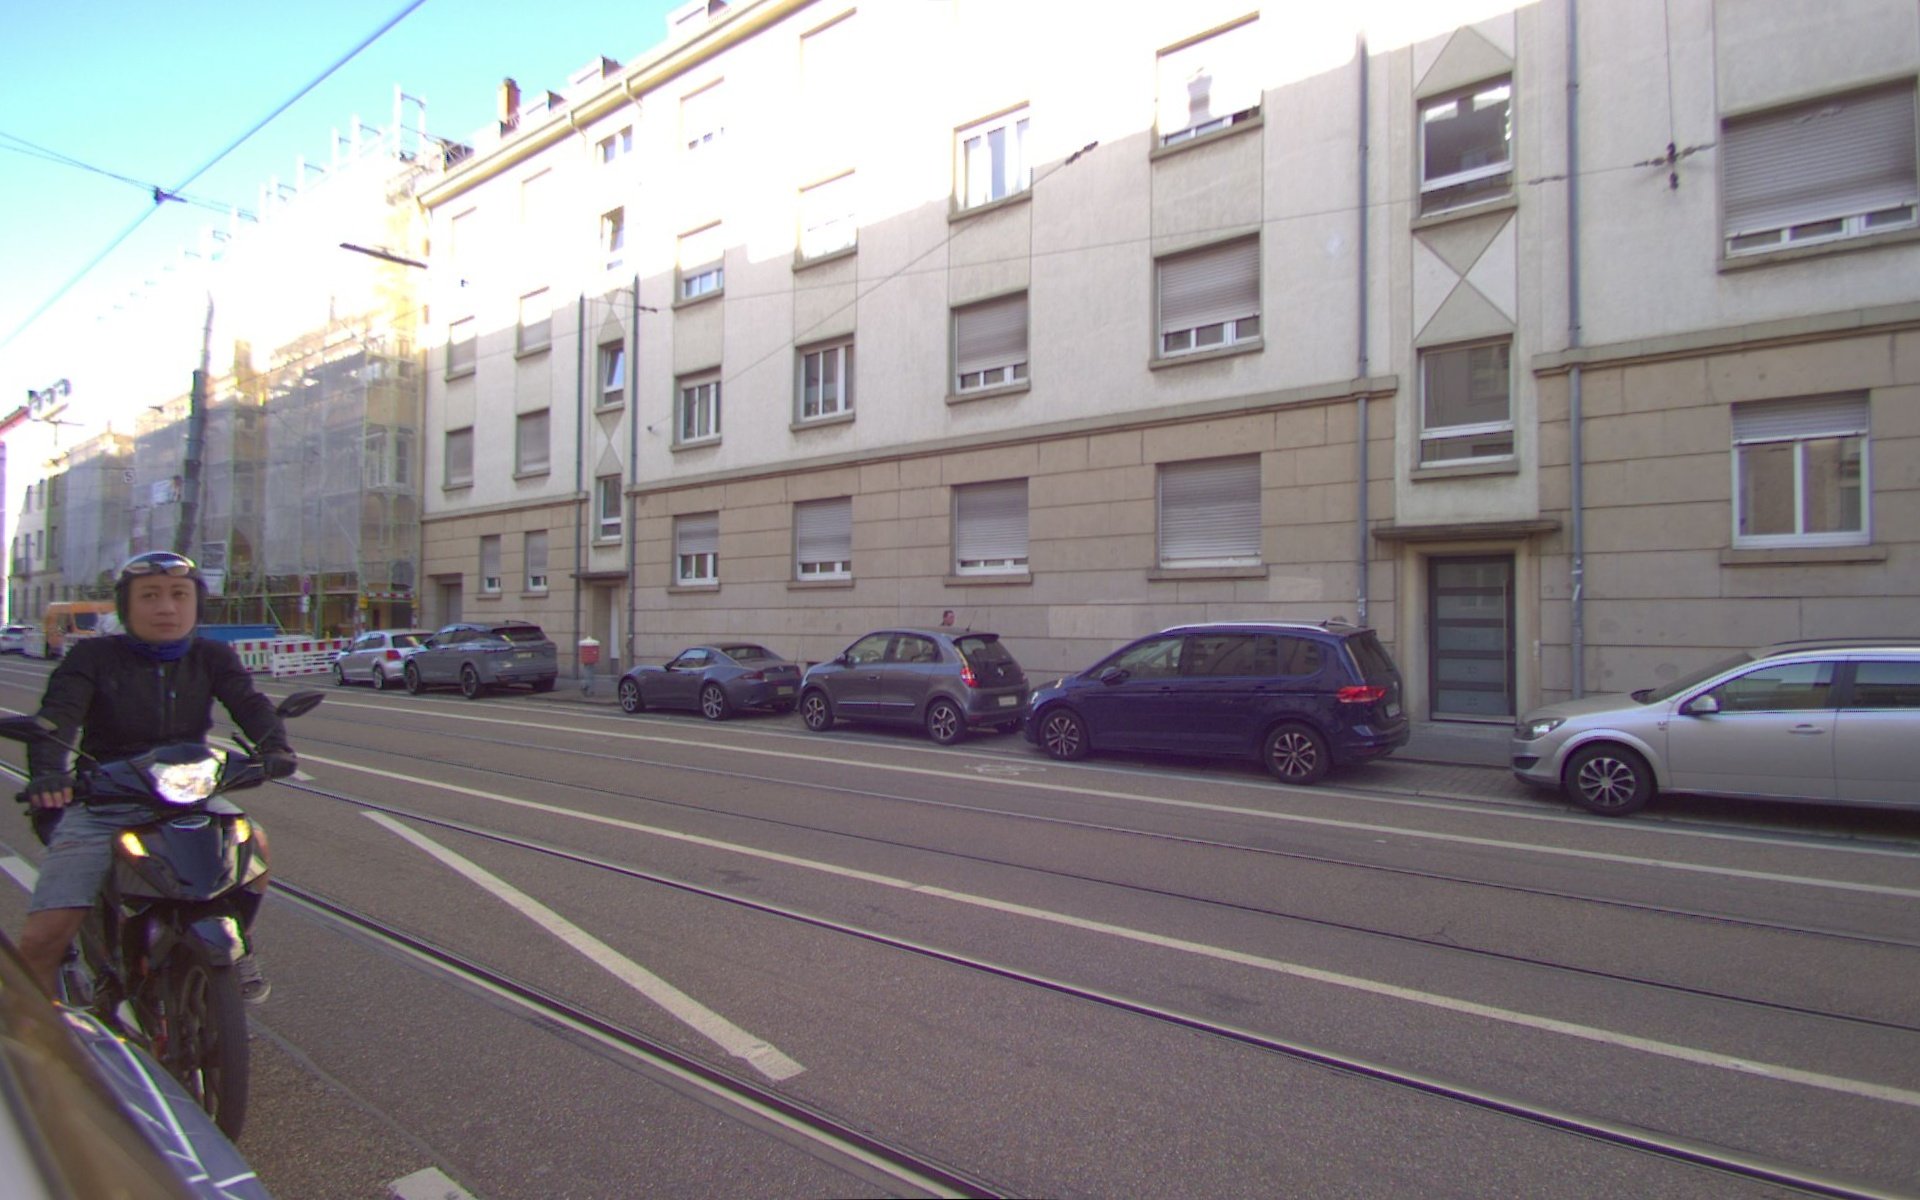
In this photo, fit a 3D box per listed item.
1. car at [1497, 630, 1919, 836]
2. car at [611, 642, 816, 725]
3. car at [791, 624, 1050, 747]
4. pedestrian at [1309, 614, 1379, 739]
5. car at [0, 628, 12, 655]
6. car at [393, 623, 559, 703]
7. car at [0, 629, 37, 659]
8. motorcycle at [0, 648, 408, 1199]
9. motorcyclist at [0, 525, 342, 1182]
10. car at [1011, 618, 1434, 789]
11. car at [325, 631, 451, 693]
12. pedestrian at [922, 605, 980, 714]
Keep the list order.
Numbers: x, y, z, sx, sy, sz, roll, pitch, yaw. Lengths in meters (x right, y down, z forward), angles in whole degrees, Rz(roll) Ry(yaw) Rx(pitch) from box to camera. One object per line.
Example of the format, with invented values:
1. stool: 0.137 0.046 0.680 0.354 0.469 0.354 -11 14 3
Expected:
1. car: 7.127 1.008 8.504 4.383 1.489 1.779 -1 -1 38
2. car: -4.314 1.372 17.502 3.681 1.244 1.502 -1 -1 38
3. car: -0.628 1.139 14.657 3.535 1.539 1.659 -1 -1 38
4. pedestrian: 4.945 0.969 13.024 0.693 1.553 0.563 -2 -3 39
5. car: -54.580 2.337 56.820 3.964 1.498 1.662 -2 -1 42
6. car: -10.882 1.341 22.662 4.201 1.611 1.675 -1 -1 38
7. car: -50.065 2.281 53.343 3.964 1.498 1.662 -2 -1 42
8. motorcycle: -2.639 0.823 3.239 2.272 1.302 0.781 -2 -3 41
9. motorcyclist: -2.542 0.661 3.162 0.899 1.668 0.781 -2 -3 41
10. car: 2.893 1.038 11.678 4.383 1.611 1.779 -1 -1 38
11. car: -14.384 1.505 25.399 3.506 1.423 1.524 -1 -1 38
12. pedestrian: -0.146 0.954 16.470 0.729 1.722 0.597 -2 -3 39
